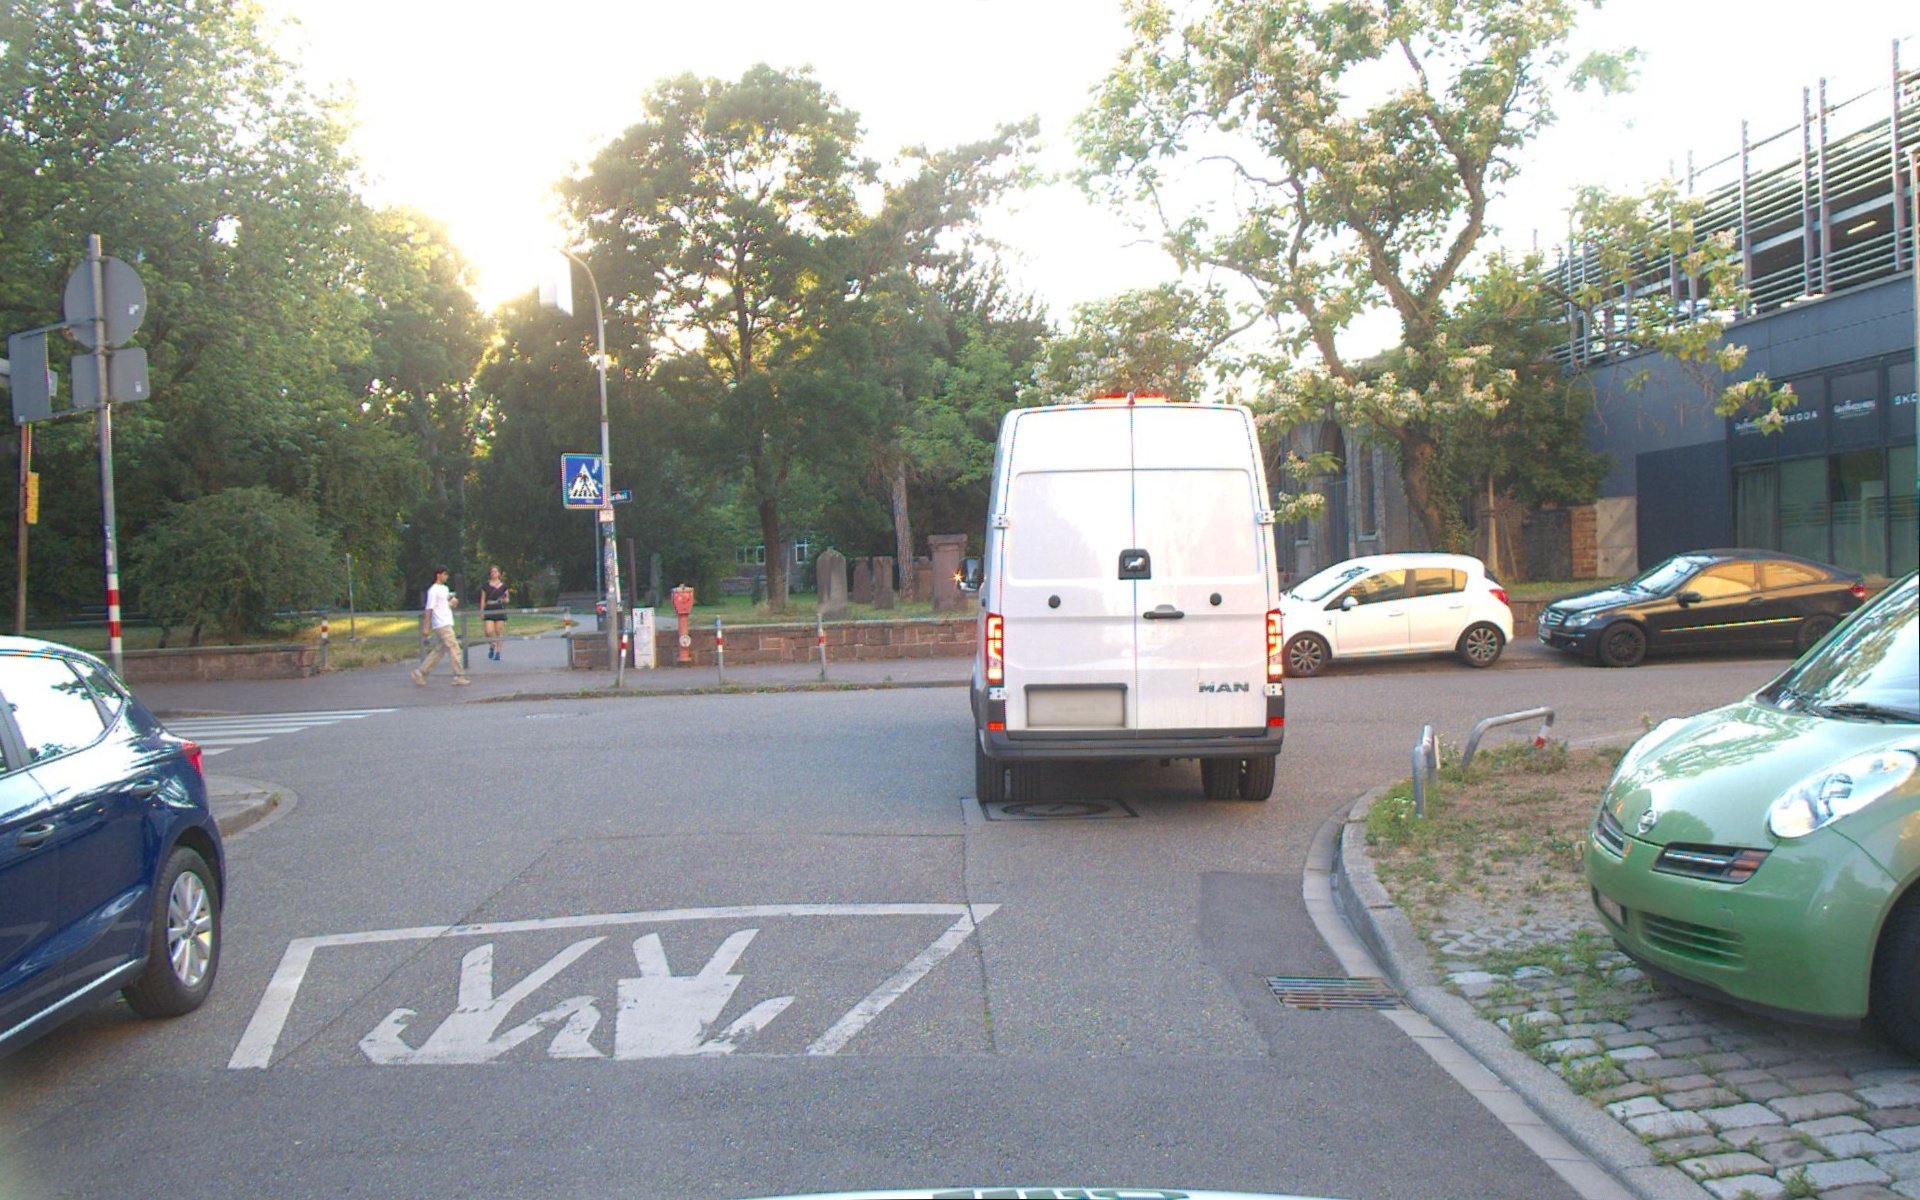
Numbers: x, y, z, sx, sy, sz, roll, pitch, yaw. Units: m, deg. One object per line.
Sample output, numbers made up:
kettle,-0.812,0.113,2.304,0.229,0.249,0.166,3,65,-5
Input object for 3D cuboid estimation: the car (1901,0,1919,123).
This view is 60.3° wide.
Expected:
car,18.077,-9.738,28.188,1.952,2.049,4.002,-1,1,3

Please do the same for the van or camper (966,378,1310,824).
van or camper,1.084,-0.019,13.138,1.953,2.664,6.402,0,0,-1

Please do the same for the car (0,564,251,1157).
car,-3.487,0.745,4.568,1.701,1.594,3.785,-3,1,-7

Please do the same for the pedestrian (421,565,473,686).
pedestrian,-7.908,0.385,25.526,0.581,1.840,0.620,-1,1,-1

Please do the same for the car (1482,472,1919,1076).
car,4.301,0.389,5.717,4.317,1.660,1.844,-3,-1,-4

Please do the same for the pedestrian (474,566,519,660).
pedestrian,-8.371,0.217,29.889,0.633,1.677,0.673,0,1,-2

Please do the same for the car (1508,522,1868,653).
car,10.103,-0.180,23.202,4.204,1.529,1.824,-3,1,2

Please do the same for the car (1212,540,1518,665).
car,5.663,0.005,23.432,3.778,1.601,1.957,-1,1,-4

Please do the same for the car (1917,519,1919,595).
car,15.788,-0.493,23.084,3.758,1.529,1.824,-3,1,2
